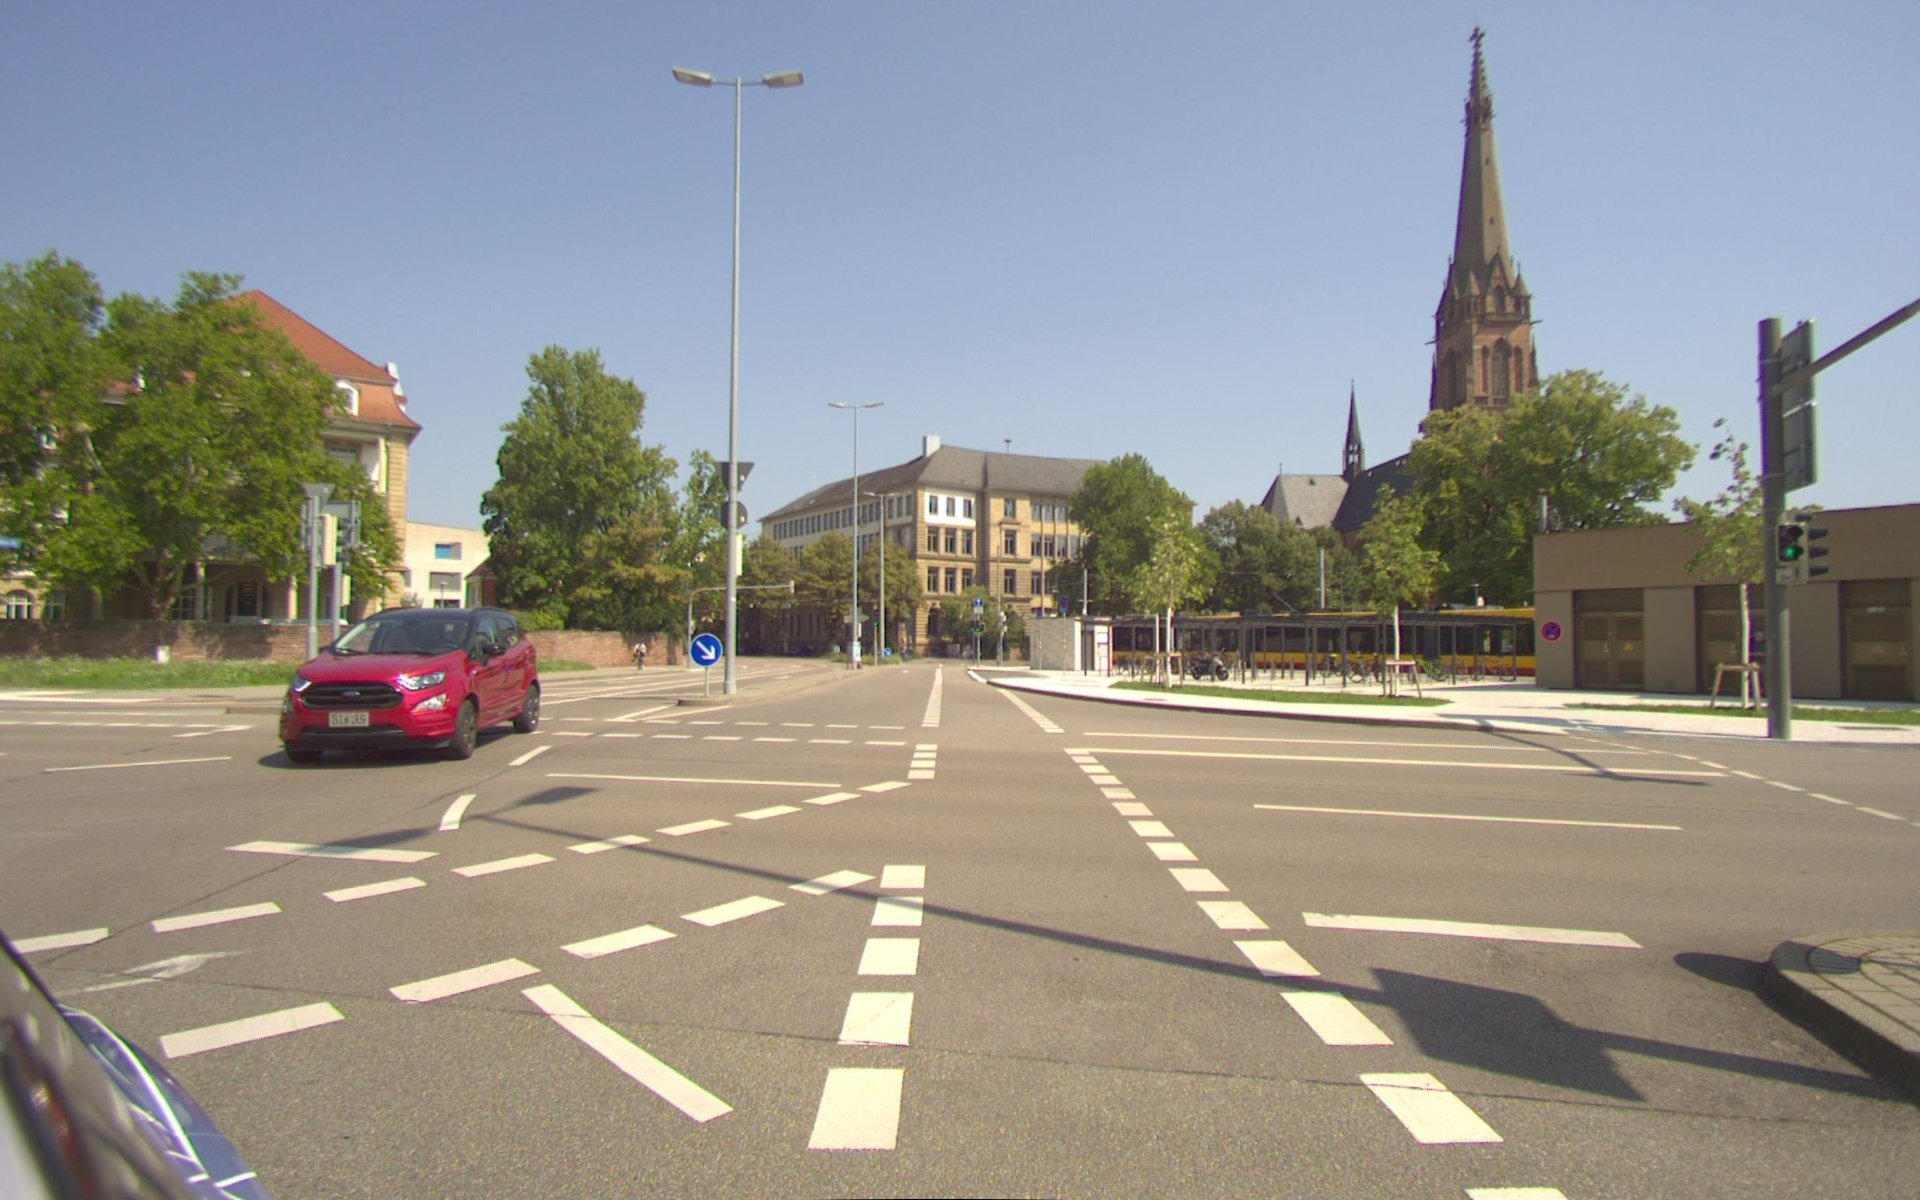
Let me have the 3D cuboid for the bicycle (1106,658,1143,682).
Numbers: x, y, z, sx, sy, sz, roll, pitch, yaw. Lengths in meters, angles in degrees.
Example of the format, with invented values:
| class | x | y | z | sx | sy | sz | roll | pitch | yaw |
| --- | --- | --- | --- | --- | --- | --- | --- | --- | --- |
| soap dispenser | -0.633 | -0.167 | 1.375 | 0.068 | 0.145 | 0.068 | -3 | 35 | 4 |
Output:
| class | x | y | z | sx | sy | sz | roll | pitch | yaw |
| --- | --- | --- | --- | --- | --- | --- | --- | --- | --- |
| bicycle | 7.545 | 3.208 | 46.501 | 0.518 | 1.090 | 1.870 | 3 | -4 | -33 |

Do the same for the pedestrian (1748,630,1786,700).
| class | x | y | z | sx | sy | sz | roll | pitch | yaw |
| --- | --- | --- | --- | --- | --- | --- | --- | --- | --- |
| pedestrian | 19.840 | 1.591 | 24.879 | 0.559 | 1.691 | 0.537 | 2 | -4 | -37 |

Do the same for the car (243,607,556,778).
| class | x | y | z | sx | sy | sz | roll | pitch | yaw |
| --- | --- | --- | --- | --- | --- | --- | --- | --- | --- |
| car | -6.166 | 0.966 | 11.731 | 1.816 | 1.627 | 4.006 | 1 | -2 | -8 |

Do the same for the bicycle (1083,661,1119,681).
| class | x | y | z | sx | sy | sz | roll | pitch | yaw |
| --- | --- | --- | --- | --- | --- | --- | --- | --- | --- |
| bicycle | 6.327 | 3.194 | 45.480 | 0.483 | 0.890 | 1.903 | 3 | -4 | -33 |

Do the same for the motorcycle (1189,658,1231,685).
| class | x | y | z | sx | sy | sz | roll | pitch | yaw |
| --- | --- | --- | --- | --- | --- | --- | --- | --- | --- |
| motorcycle | 10.072 | 2.881 | 40.785 | 0.483 | 1.077 | 1.784 | 3 | -4 | -33 |

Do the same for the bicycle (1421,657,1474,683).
| class | x | y | z | sx | sy | sz | roll | pitch | yaw |
| --- | --- | --- | --- | --- | --- | --- | --- | --- | --- |
| bicycle | 19.409 | 2.779 | 40.320 | 0.505 | 0.993 | 1.861 | 3 | -4 | -37 |

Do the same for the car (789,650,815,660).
| class | x | y | z | sx | sy | sz | roll | pitch | yaw |
| --- | --- | --- | --- | --- | --- | --- | --- | --- | --- |
| car | -19.558 | 6.800 | 125.132 | 3.010 | 1.185 | 1.253 | 3 | -4 | -40 |

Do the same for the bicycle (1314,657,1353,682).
| class | x | y | z | sx | sy | sz | roll | pitch | yaw |
| --- | --- | --- | --- | --- | --- | --- | --- | --- | --- |
| bicycle | 15.857 | 2.943 | 42.989 | 0.406 | 1.048 | 1.645 | 3 | -4 | -33 |

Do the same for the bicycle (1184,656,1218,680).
| class | x | y | z | sx | sy | sz | roll | pitch | yaw |
| --- | --- | --- | --- | --- | --- | --- | --- | --- | --- |
| bicycle | 10.864 | 3.079 | 45.728 | 0.406 | 1.048 | 1.645 | 3 | -4 | -33 |

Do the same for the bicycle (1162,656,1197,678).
| class | x | y | z | sx | sy | sz | roll | pitch | yaw |
| --- | --- | --- | --- | --- | --- | --- | --- | --- | --- |
| bicycle | 10.460 | 3.177 | 48.260 | 0.518 | 1.048 | 1.775 | 3 | -4 | -33 |

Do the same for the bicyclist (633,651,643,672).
| class | x | y | z | sx | sy | sz | roll | pitch | yaw |
| --- | --- | --- | --- | --- | --- | --- | --- | --- | --- |
| bicyclist | -18.666 | 3.574 | 58.710 | 0.427 | 1.242 | 0.541 | 0 | -3 | -3 |

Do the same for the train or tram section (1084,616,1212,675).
| class | x | y | z | sx | sy | sz | roll | pitch | yaw |
| --- | --- | --- | --- | --- | --- | --- | --- | --- | --- |
| train or tram section | 12.077 | 3.073 | 65.875 | 3.086 | 3.588 | 8.347 | 4 | -5 | -36 |

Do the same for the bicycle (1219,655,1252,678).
| class | x | y | z | sx | sy | sz | roll | pitch | yaw |
| --- | --- | --- | --- | --- | --- | --- | --- | --- | --- |
| bicycle | 12.827 | 3.109 | 47.176 | 0.406 | 1.048 | 1.645 | 3 | -4 | -33 |

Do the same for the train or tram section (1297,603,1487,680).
| class | x | y | z | sx | sy | sz | roll | pitch | yaw |
| --- | --- | --- | --- | --- | --- | --- | --- | --- | --- |
| train or tram section | 22.010 | 2.275 | 52.125 | 3.109 | 3.625 | 8.545 | 3 | -5 | -36 |

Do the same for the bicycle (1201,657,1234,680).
| class | x | y | z | sx | sy | sz | roll | pitch | yaw |
| --- | --- | --- | --- | --- | --- | --- | --- | --- | --- |
| bicycle | 11.758 | 3.112 | 46.261 | 0.406 | 1.048 | 1.645 | 3 | -4 | -33 |

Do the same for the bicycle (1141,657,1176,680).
| class | x | y | z | sx | sy | sz | roll | pitch | yaw |
| --- | --- | --- | --- | --- | --- | --- | --- | --- | --- |
| bicycle | 9.247 | 3.169 | 47.181 | 0.518 | 1.048 | 1.775 | 3 | -4 | -33 |

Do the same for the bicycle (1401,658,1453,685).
| class | x | y | z | sx | sy | sz | roll | pitch | yaw |
| --- | --- | --- | --- | --- | --- | --- | --- | --- | --- |
| bicycle | 18.124 | 2.763 | 39.277 | 1.734 | 1.048 | 0.506 | -3 | -5 | 42 |

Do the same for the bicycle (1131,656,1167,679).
| class | x | y | z | sx | sy | sz | roll | pitch | yaw |
| --- | --- | --- | --- | --- | --- | --- | --- | --- | --- |
| bicycle | 8.732 | 3.122 | 46.794 | 0.518 | 1.048 | 1.775 | 3 | -4 | -33 |

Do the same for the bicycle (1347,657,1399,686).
| class | x | y | z | sx | sy | sz | roll | pitch | yaw |
| --- | --- | --- | --- | --- | --- | --- | --- | --- | --- |
| bicycle | 15.313 | 2.650 | 37.578 | 0.505 | 1.048 | 1.736 | 3 | -5 | -42 |

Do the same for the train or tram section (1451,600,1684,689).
| class | x | y | z | sx | sy | sz | roll | pitch | yaw |
| --- | --- | --- | --- | --- | --- | --- | --- | --- | --- |
| train or tram section | 26.914 | 2.098 | 45.326 | 3.109 | 3.625 | 8.264 | 3 | -5 | -36 |

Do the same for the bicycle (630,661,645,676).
| class | x | y | z | sx | sy | sz | roll | pitch | yaw |
| --- | --- | --- | --- | --- | --- | --- | --- | --- | --- |
| bicycle | -18.661 | 3.980 | 58.604 | 0.431 | 0.818 | 1.487 | 0 | -3 | -4 |

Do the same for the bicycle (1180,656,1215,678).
| class | x | y | z | sx | sy | sz | roll | pitch | yaw |
| --- | --- | --- | --- | --- | --- | --- | --- | --- | --- |
| bicycle | 11.514 | 3.219 | 49.047 | 0.518 | 1.048 | 1.775 | 3 | -4 | -33 |

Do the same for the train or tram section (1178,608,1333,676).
| class | x | y | z | sx | sy | sz | roll | pitch | yaw |
| --- | --- | --- | --- | --- | --- | --- | --- | --- | --- |
| train or tram section | 17.020 | 2.568 | 59.046 | 3.109 | 3.625 | 8.545 | 3 | -5 | -36 |
